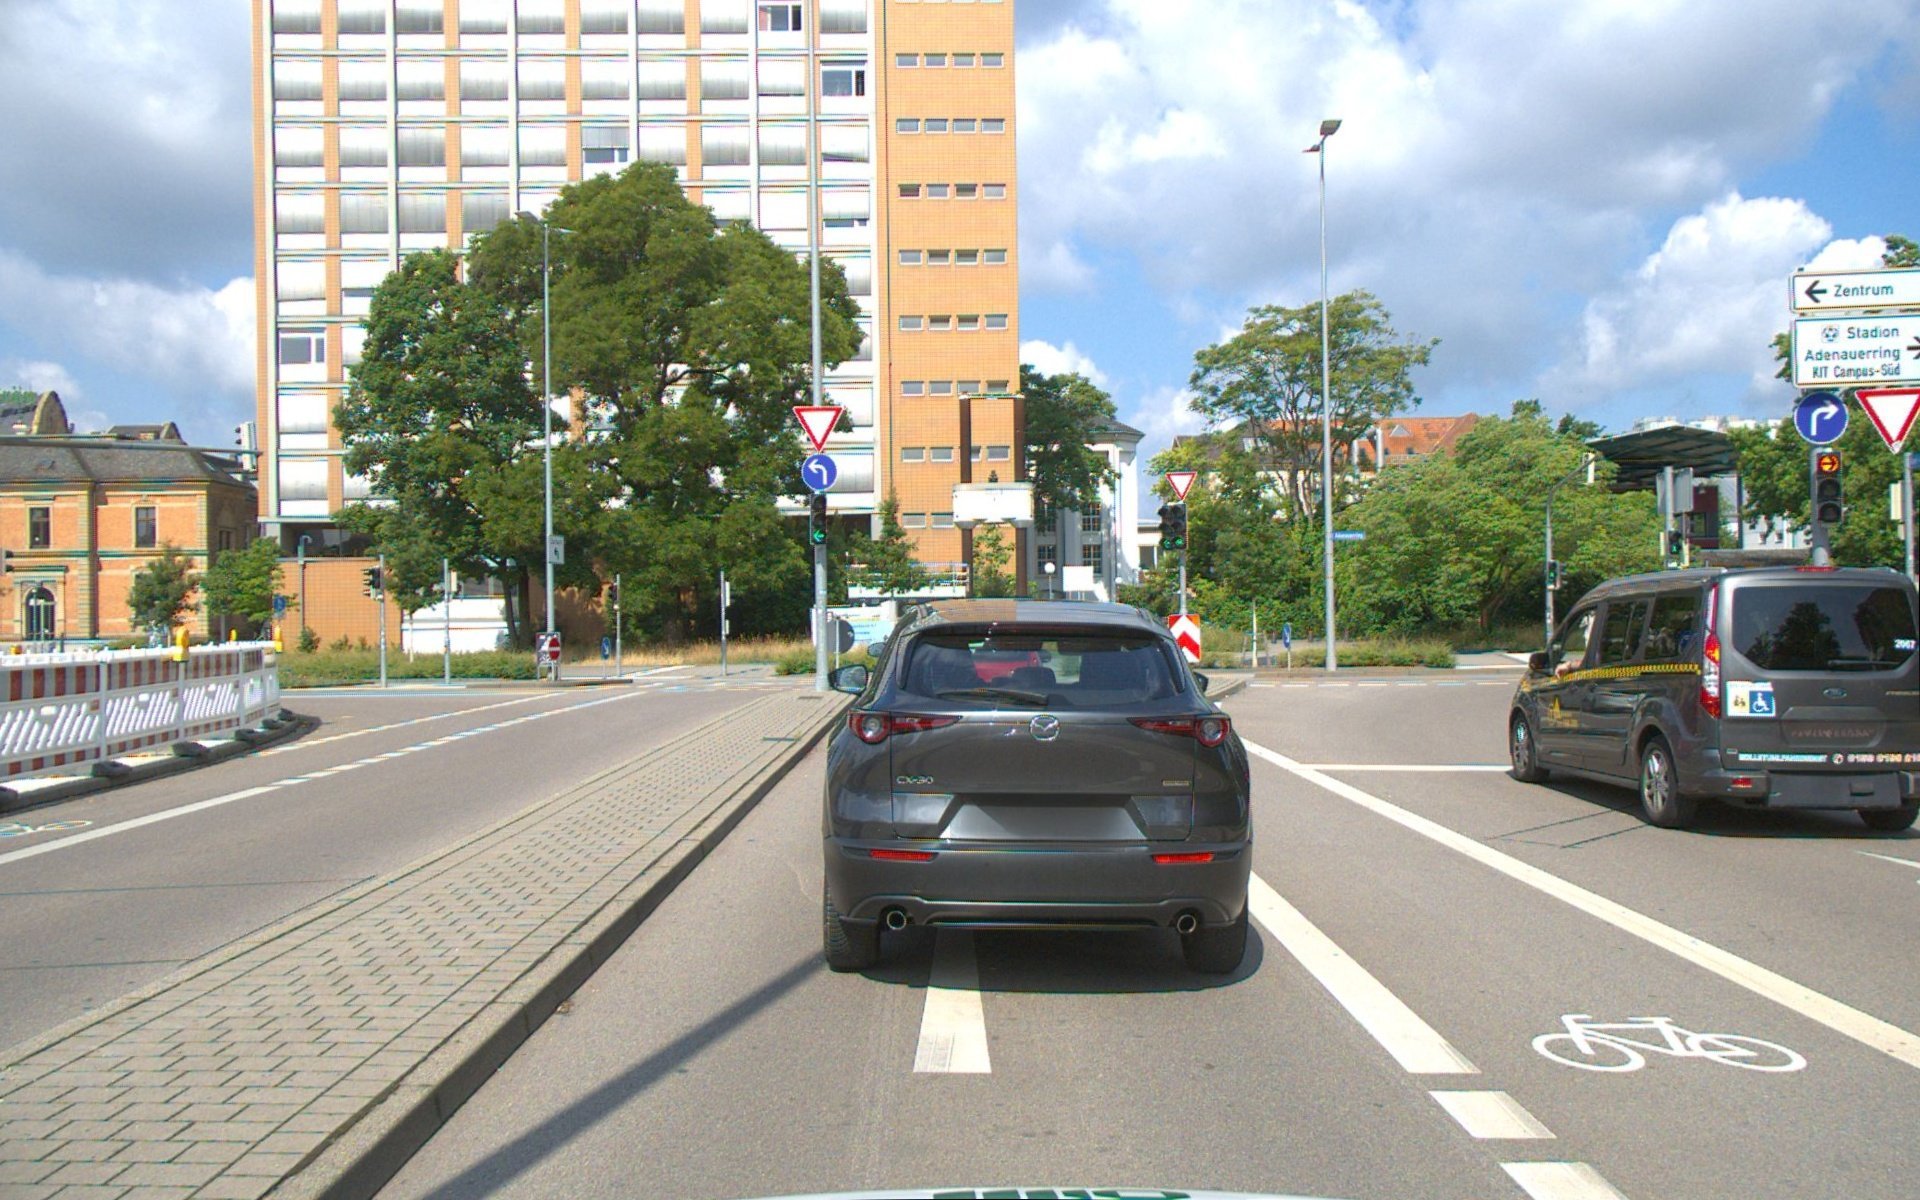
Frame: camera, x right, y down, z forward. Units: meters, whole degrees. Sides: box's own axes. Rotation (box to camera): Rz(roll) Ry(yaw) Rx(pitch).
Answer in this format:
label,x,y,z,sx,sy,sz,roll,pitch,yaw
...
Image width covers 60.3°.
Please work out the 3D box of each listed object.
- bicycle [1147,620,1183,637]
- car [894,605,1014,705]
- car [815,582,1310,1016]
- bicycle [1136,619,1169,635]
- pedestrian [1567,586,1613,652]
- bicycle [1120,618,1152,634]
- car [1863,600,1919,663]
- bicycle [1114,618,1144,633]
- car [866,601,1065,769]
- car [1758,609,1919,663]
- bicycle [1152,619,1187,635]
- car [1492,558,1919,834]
label,x,y,z,sx,sy,sz,roll,pitch,yaw
bicycle,12.086,1.707,97.515,2.013,0.953,0.804,-1,-1,-2
car,-0.077,0.872,27.627,1.810,1.498,4.335,-1,-1,0
car,0.345,0.739,8.111,1.769,1.534,4.204,1,0,-1
bicycle,12.222,1.687,104.952,2.013,0.953,0.804,-1,-1,-2
pedestrian,18.556,0.565,48.754,0.684,1.890,1.177,-1,-3,-11
bicycle,11.671,1.727,109.701,2.013,0.953,0.804,-1,-1,-2
car,25.173,0.742,40.720,4.664,1.467,2.063,-2,-3,4
bicycle,11.712,1.775,114.561,2.013,0.953,0.804,-1,-1,-2
car,0.113,0.763,16.926,1.778,1.464,4.068,1,0,2
car,25.603,1.030,47.826,4.061,1.401,2.000,-1,0,1
bicycle,12.688,1.649,100.332,2.013,0.953,0.804,-1,-1,-2
car,5.865,0.645,13.240,1.810,1.816,4.672,0,0,1
